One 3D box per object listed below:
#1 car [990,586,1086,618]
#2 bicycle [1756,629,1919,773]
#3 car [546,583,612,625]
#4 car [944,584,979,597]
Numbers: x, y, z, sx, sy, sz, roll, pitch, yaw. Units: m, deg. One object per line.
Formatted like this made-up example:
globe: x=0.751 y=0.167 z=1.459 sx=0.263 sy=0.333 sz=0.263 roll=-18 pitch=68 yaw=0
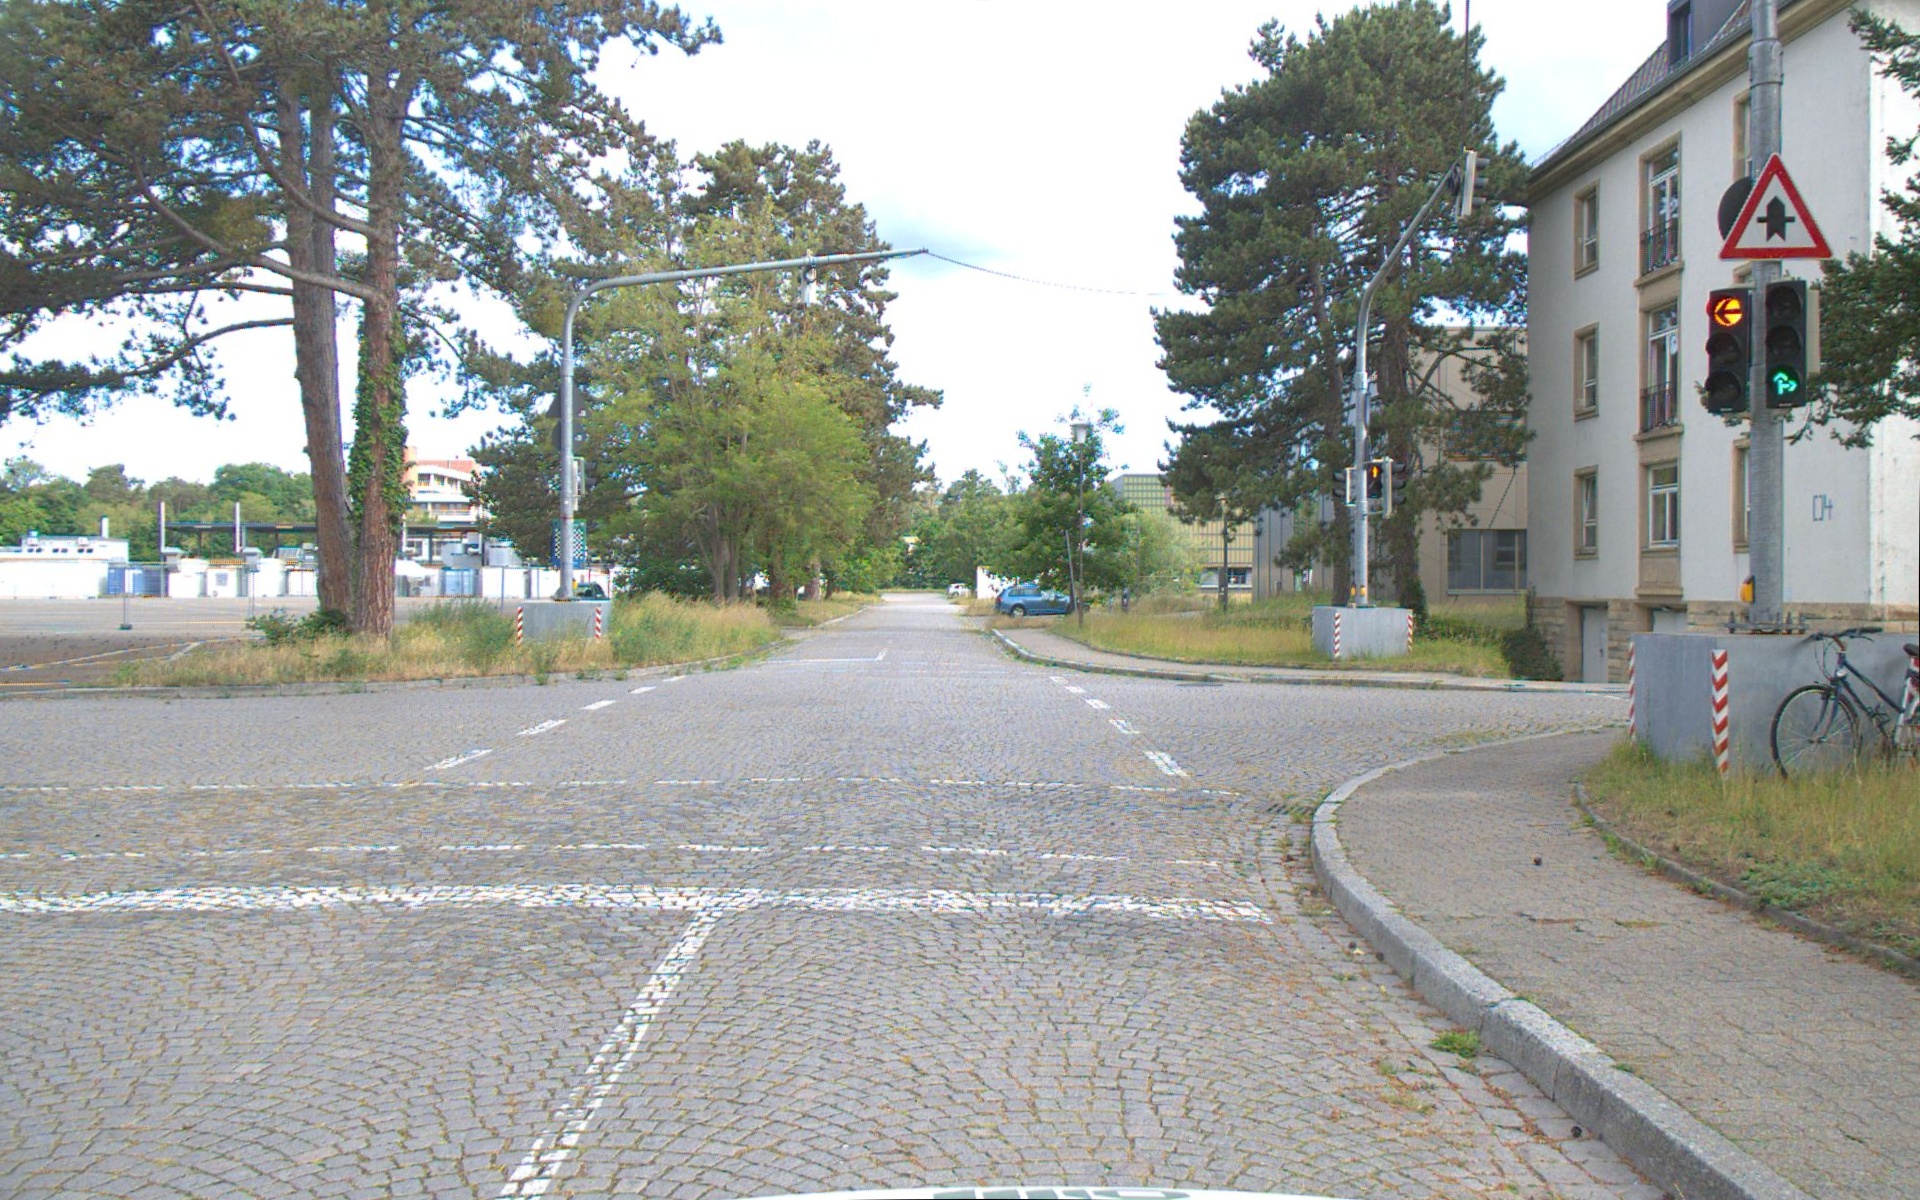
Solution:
car: x=3.586 y=0.066 z=76.632 sx=4.258 sy=1.447 sz=1.999 roll=0 pitch=1 yaw=-4
bicycle: x=6.142 y=0.640 z=10.750 sx=1.665 sy=0.889 sz=0.573 roll=0 pitch=0 yaw=-1
car: x=-14.061 y=0.120 z=61.253 sx=1.580 sy=1.513 sz=3.999 roll=0 pitch=1 yaw=-1
car: x=0.141 y=-1.111 z=193.633 sx=3.911 sy=1.422 sz=1.997 roll=0 pitch=1 yaw=-7
